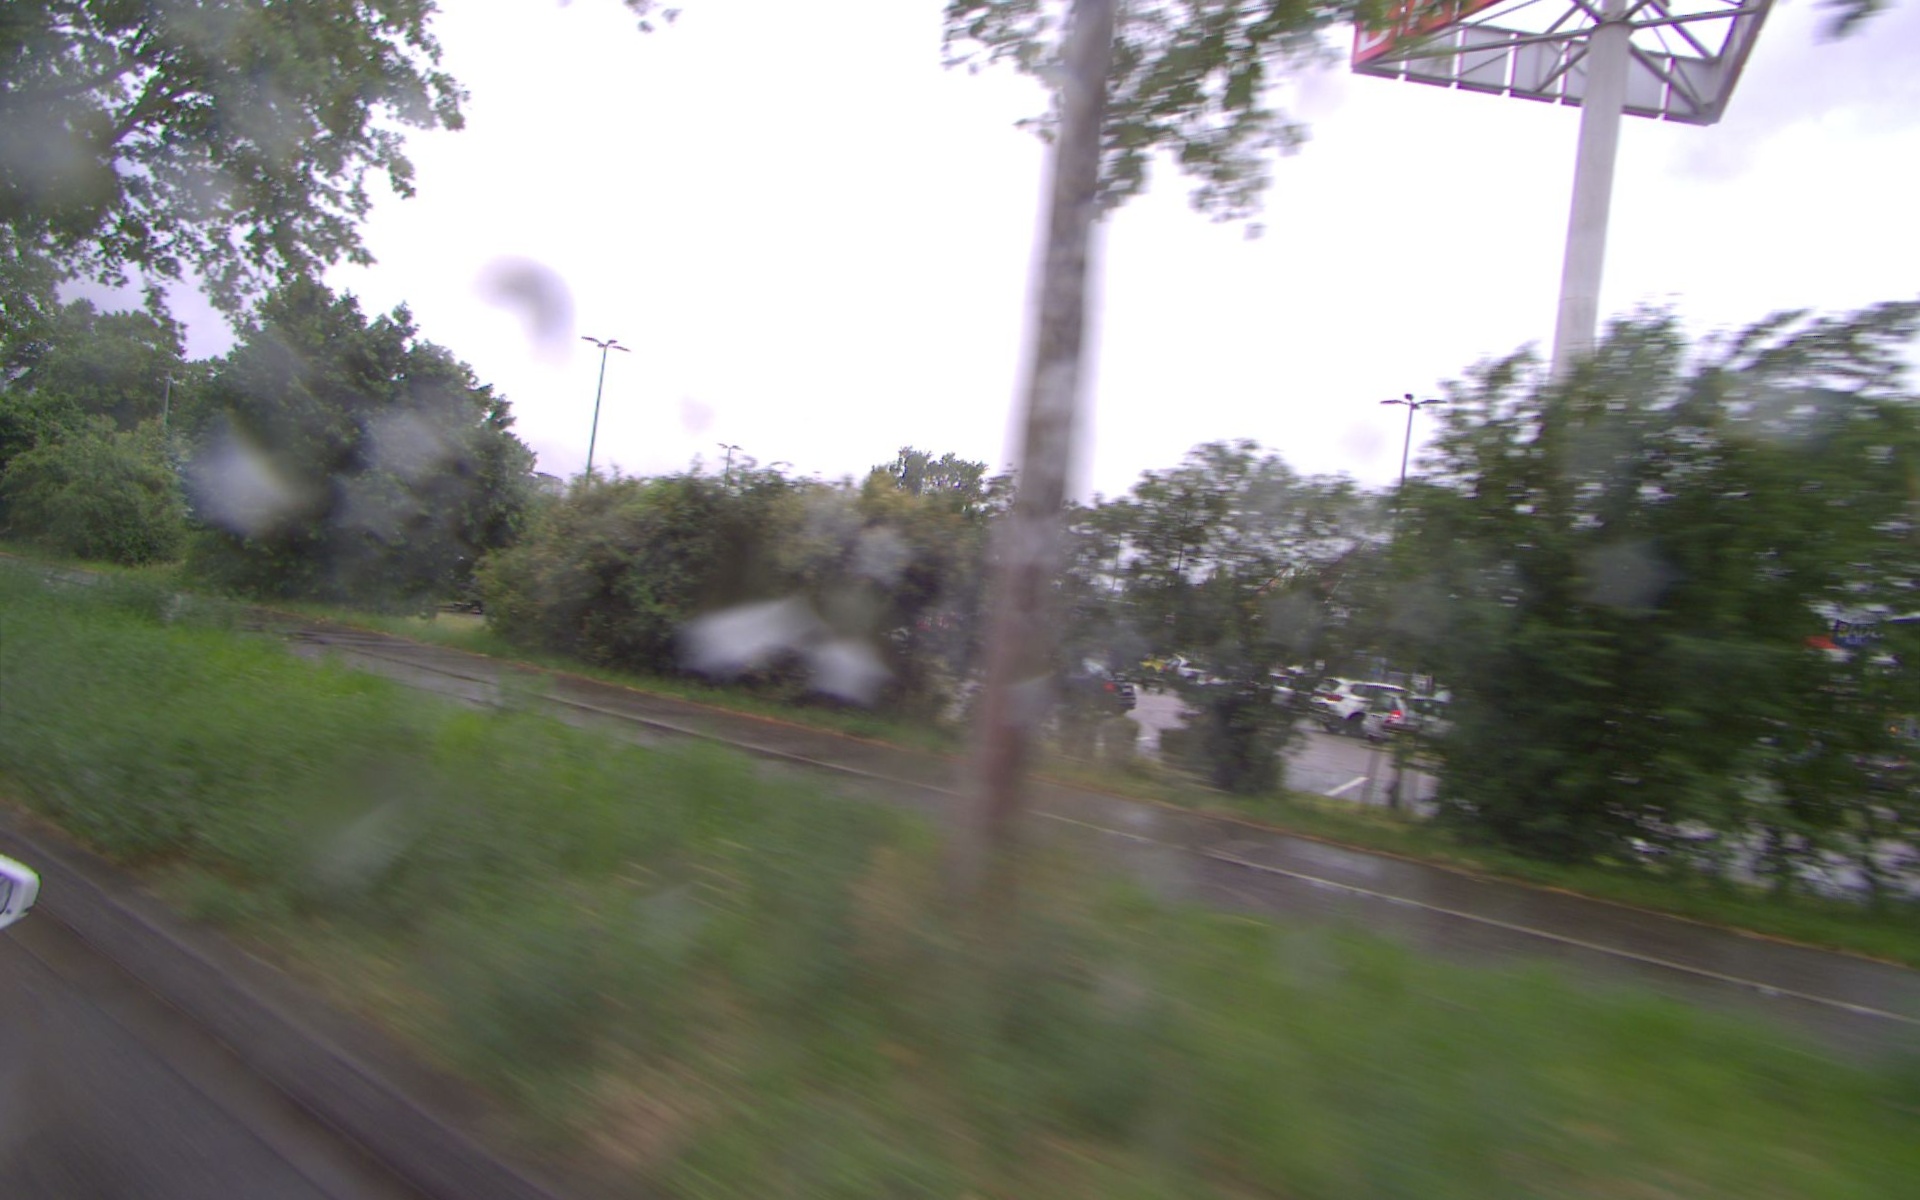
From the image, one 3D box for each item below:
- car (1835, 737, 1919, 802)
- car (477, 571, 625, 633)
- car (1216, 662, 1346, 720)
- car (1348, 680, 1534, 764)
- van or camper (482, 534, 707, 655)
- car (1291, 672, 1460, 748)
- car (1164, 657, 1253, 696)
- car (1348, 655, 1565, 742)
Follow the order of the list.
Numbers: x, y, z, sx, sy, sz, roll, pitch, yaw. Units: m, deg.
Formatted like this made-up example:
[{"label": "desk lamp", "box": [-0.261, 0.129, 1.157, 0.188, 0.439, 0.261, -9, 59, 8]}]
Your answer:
[{"label": "car", "box": [30.469, 5.522, 31.639, 4.262, 1.654, 1.938, 8, -1, -5]}, {"label": "car", "box": [-13.213, 0.105, 32.676, 1.849, 1.473, 3.988, 6, -2, 37]}, {"label": "car", "box": [12.339, 3.486, 38.887, 4.259, 1.545, 1.940, 8, -1, -1]}, {"label": "car", "box": [13.562, 3.432, 28.517, 4.264, 1.654, 1.938, 8, -1, -7]}, {"label": "van or camper", "box": [-10.352, -0.041, 29.047, 1.968, 2.618, 5.729, 11, 0, 35]}, {"label": "car", "box": [12.818, 3.373, 31.198, 4.261, 1.654, 1.939, 8, -1, -3]}, {"label": "car", "box": [11.965, 3.686, 48.629, 3.803, 1.371, 1.565, 7, -1, 1]}, {"label": "car", "box": [20.308, 4.001, 41.416, 7.433, 2.384, 2.589, 8, -1, 1]}]
